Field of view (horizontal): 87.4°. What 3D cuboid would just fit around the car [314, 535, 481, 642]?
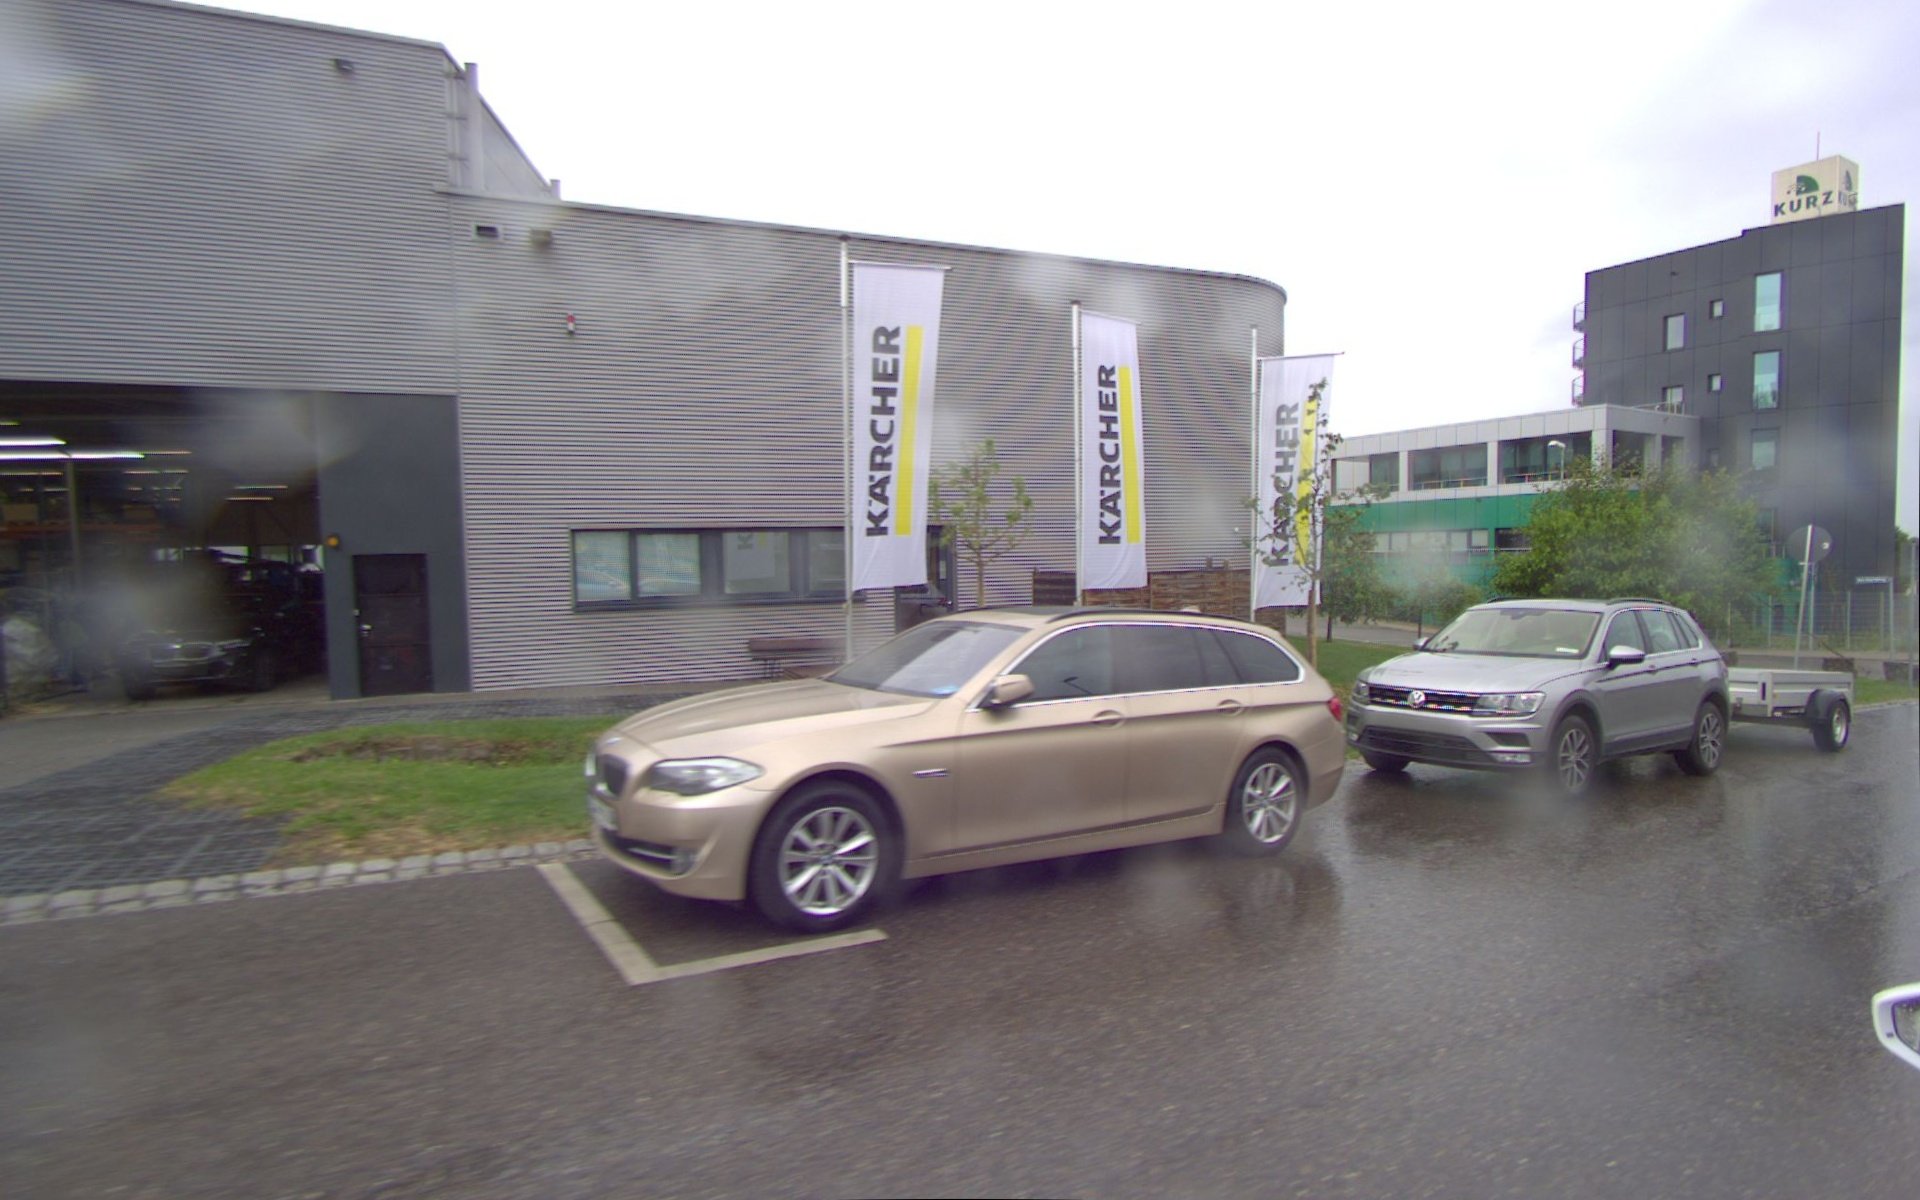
[{"bbox_3d":[-15.400,-0.374,27.959,2.082,2.635,5.697,-2,2,-9],"label":"car"}]

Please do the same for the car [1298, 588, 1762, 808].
[{"bbox_3d":[5.523,0.783,9.500,4.791,1.597,1.945,2,-1,-35],"label":"car"}]

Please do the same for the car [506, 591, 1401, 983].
[{"bbox_3d":[0.234,0.747,6.061,5.192,1.480,1.944,1,0,-33],"label":"car"}]

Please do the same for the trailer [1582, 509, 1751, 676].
[{"bbox_3d":[19.470,-0.183,27.935,1.965,4.259,4.189,1,0,5],"label":"trailer"}]

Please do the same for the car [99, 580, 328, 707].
[{"bbox_3d":[-12.423,0.595,17.068,1.904,1.796,4.204,-2,2,-20],"label":"car"}]

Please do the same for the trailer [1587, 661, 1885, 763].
[{"bbox_3d":[9.183,1.225,11.808,3.858,0.900,1.669,2,0,-34],"label":"trailer"}]
